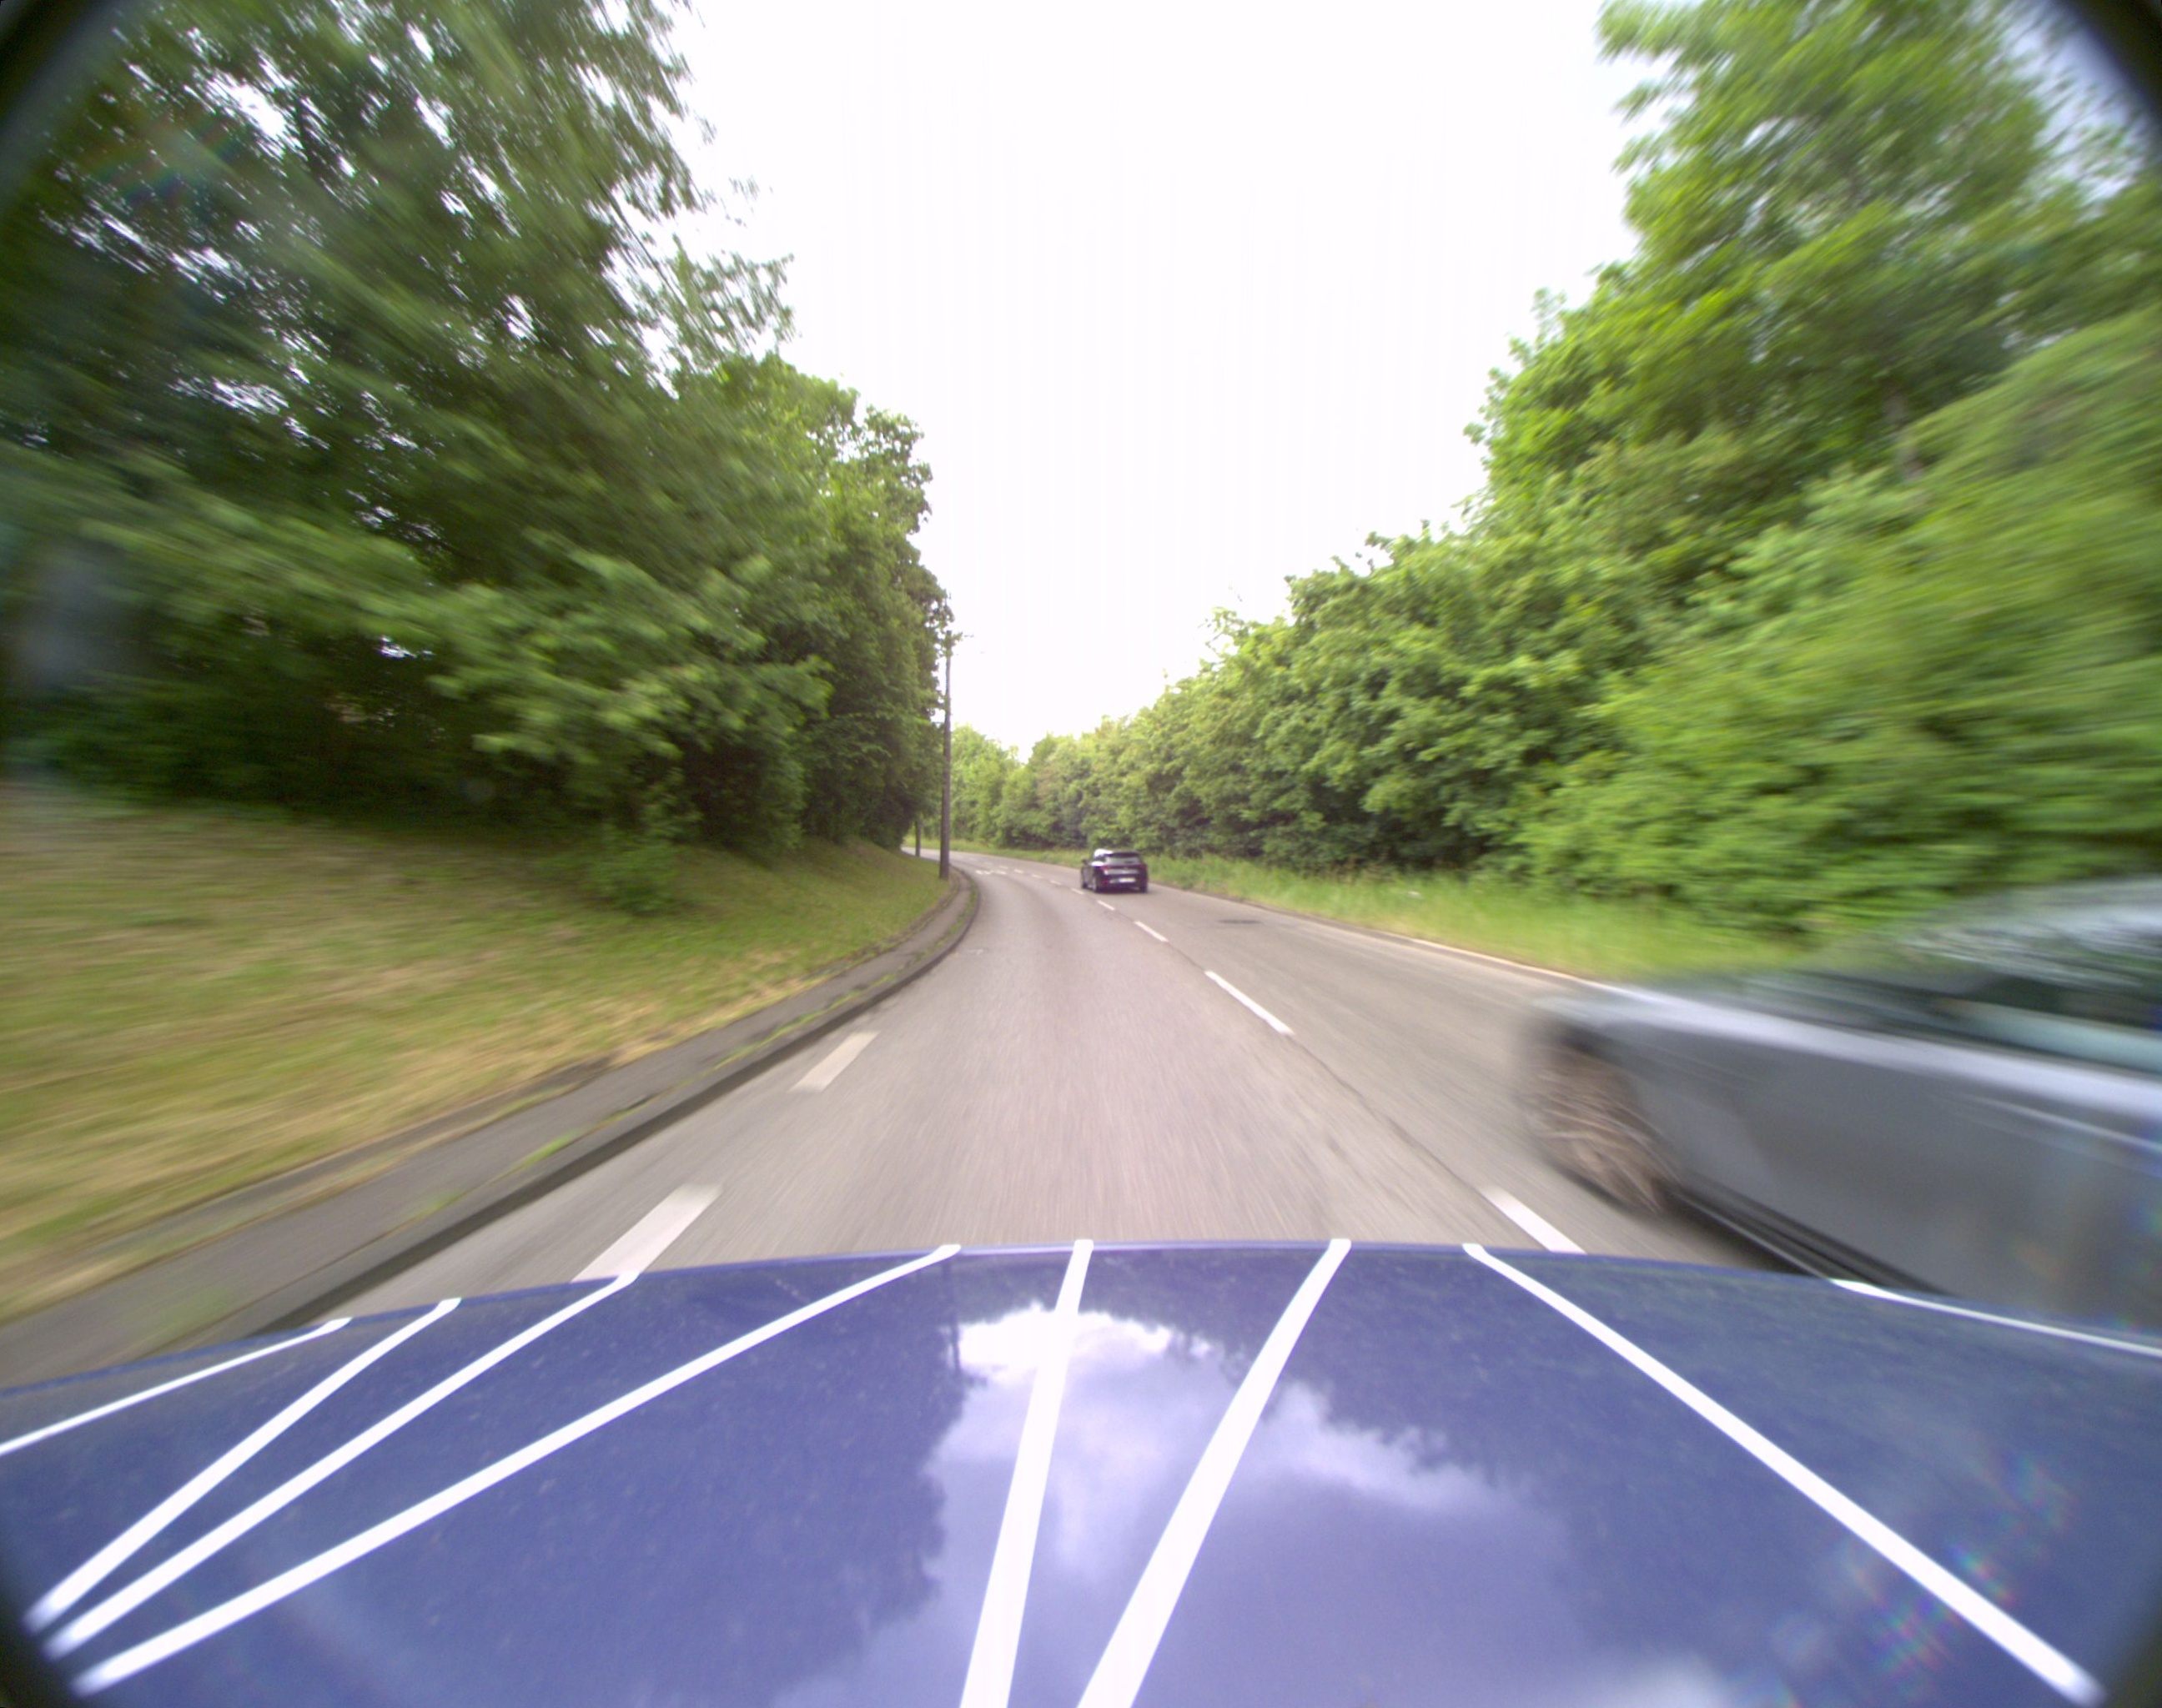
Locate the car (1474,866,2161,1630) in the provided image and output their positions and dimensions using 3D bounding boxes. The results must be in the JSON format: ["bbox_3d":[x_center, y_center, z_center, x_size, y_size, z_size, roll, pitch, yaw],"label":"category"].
[{"bbox_3d":[3.044,0.807,1.512,1.903,1.346,4.841,-3,1,-1],"label":"car"}]

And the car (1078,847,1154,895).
[{"bbox_3d":[1.080,0.501,25.959,1.808,1.426,4.656,-2,1,-7],"label":"car"}]
